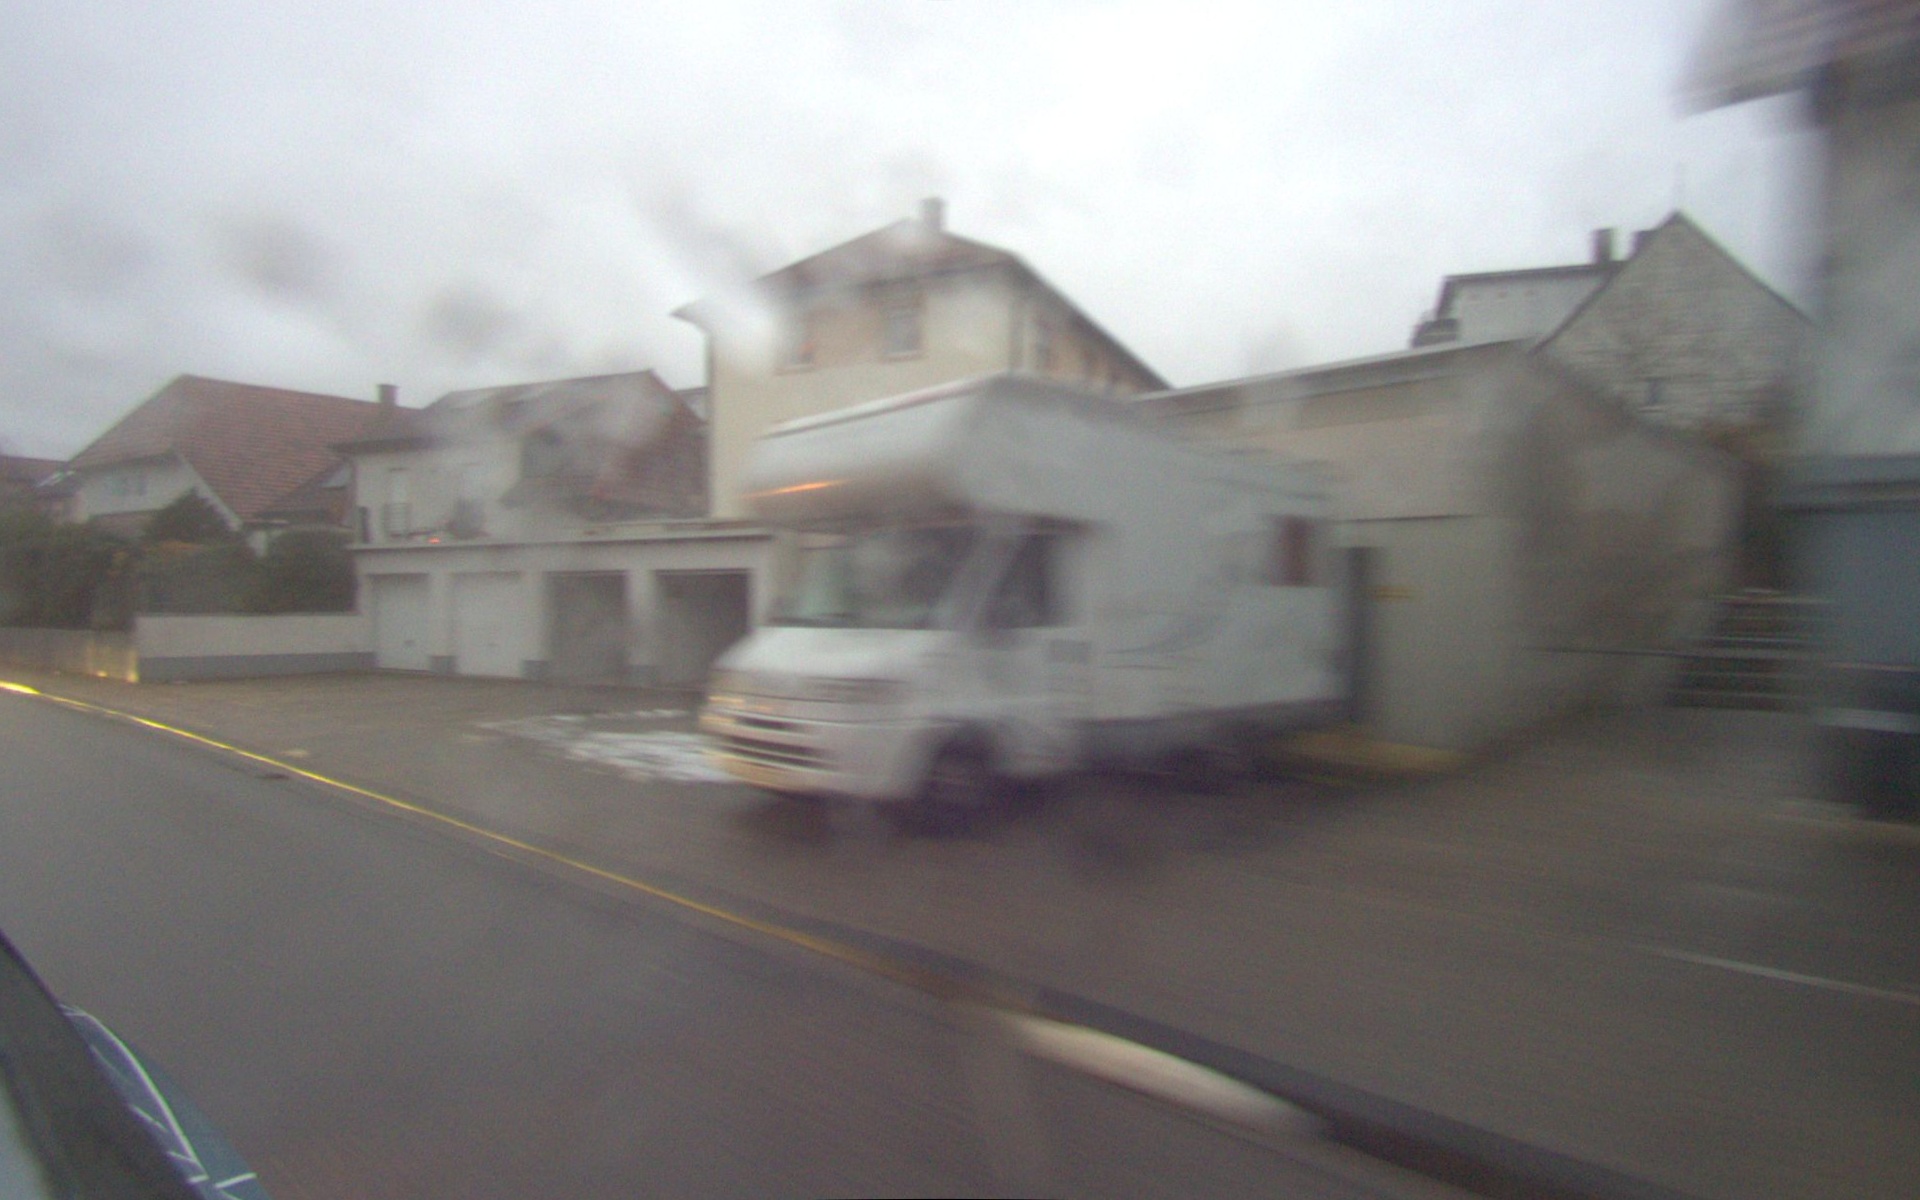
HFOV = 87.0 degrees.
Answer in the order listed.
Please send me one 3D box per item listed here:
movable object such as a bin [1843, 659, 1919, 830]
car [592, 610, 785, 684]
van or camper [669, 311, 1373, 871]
[{"bbox_3d":[5.636,0.842,6.012,0.451,0.955,0.502,0,-1,-39],"label":"movable object such as a bin"},{"bbox_3d":[-5.668,0.933,21.614,1.753,1.414,3.961,-1,-1,29],"label":"car"},{"bbox_3d":[0.964,0.092,8.296,5.988,2.964,2.325,4,-4,-45],"label":"van or camper"}]
